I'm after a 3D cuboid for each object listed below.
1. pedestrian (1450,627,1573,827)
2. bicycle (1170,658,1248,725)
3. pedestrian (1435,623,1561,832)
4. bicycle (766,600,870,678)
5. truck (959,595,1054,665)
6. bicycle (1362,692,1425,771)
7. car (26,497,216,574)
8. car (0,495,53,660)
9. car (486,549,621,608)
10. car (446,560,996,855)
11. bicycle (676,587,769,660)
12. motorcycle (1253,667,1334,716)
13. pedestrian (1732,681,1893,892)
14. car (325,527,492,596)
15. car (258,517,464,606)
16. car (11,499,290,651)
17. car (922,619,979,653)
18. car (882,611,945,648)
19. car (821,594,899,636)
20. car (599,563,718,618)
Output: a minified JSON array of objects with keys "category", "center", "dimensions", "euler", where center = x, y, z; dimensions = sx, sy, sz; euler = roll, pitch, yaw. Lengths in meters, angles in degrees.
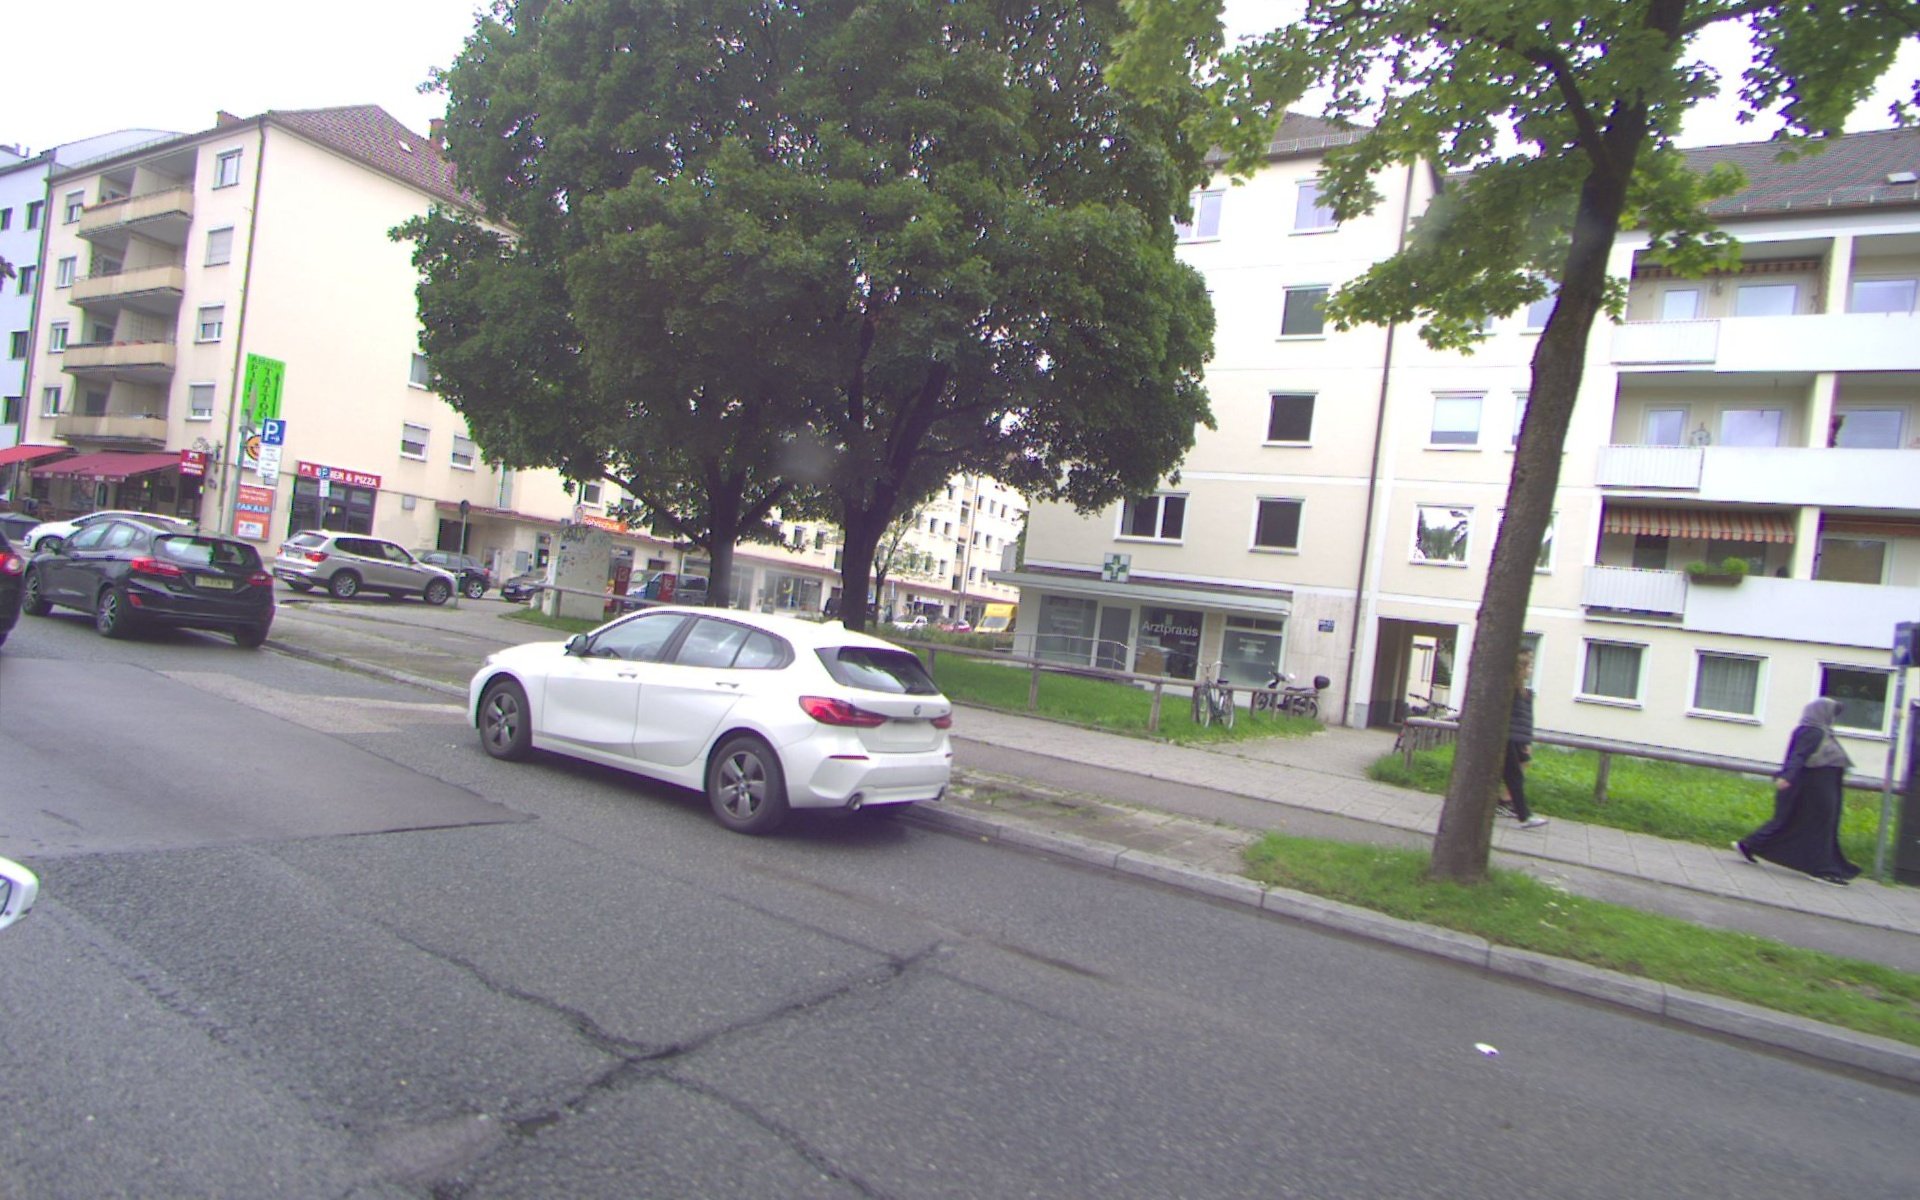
[{"category":"pedestrian","center":[5.820,1.307,10.633],"dimensions":[0.904,1.913,0.730],"euler":[7,1,31]},{"category":"bicycle","center":[4.060,1.504,16.307],"dimensions":[0.549,0.950,1.880],"euler":[7,-2,33]},{"category":"pedestrian","center":[5.397,1.249,10.094],"dimensions":[0.887,1.913,0.588],"euler":[7,1,31]},{"category":"bicycle","center":[-2.459,0.657,17.310],"dimensions":[1.853,1.116,0.382],"euler":[7,-1,33]},{"category":"truck","center":[2.844,1.841,58.316],"dimensions":[2.318,3.282,7.426],"euler":[7,-2,27]},{"category":"bicycle","center":[6.176,1.855,14.270],"dimensions":[0.426,0.985,1.880],"euler":[7,-2,33]},{"category":"car","center":[-21.771,-1.666,26.304],"dimensions":[3.527,1.434,1.854],"euler":[8,0,-34]},{"category":"car","center":[-10.718,-0.498,9.600],"dimensions":[4.367,1.449,1.735],"euler":[7,-2,31]},{"category":"car","center":[-15.149,-0.756,37.694],"dimensions":[1.839,1.681,4.401],"euler":[7,0,29]},{"category":"car","center":[-1.979,0.723,7.974],"dimensions":[4.068,1.481,1.687],"euler":[7,-3,31]},{"category":"bicycle","center":[-4.378,0.413,18.496],"dimensions":[1.823,1.118,0.389],"euler":[7,-1,33]},{"category":"motorcycle","center":[8.950,2.445,26.993],"dimensions":[1.875,1.035,0.605],"euler":[7,-1,32]},{"category":"pedestrian","center":[7.736,1.647,9.186],"dimensions":[0.821,1.702,0.839],"euler":[7,1,30]},{"category":"car","center":[-17.919,-1.204,32.898],"dimensions":[1.839,1.681,4.402],"euler":[7,0,27]},{"category":"car","center":[-15.995,-0.967,27.163],"dimensions":[1.837,1.679,4.410],"euler":[8,-2,23]},{"category":"car","center":[-10.708,-0.350,13.265],"dimensions":[3.613,1.482,1.621],"euler":[7,-3,32]},{"category":"car","center":[-0.577,2.372,65.554],"dimensions":[1.839,1.679,4.088],"euler":[7,-2,27]},{"category":"car","center":[-2.782,1.828,61.160],"dimensions":[1.839,1.679,4.088],"euler":[7,-2,27]},{"category":"car","center":[-5.490,0.872,55.942],"dimensions":[1.839,1.679,4.750],"euler":[7,-3,27]},{"category":"car","center":[-12.686,-0.373,42.616],"dimensions":[1.840,1.794,4.742],"euler":[7,0,30]}]
